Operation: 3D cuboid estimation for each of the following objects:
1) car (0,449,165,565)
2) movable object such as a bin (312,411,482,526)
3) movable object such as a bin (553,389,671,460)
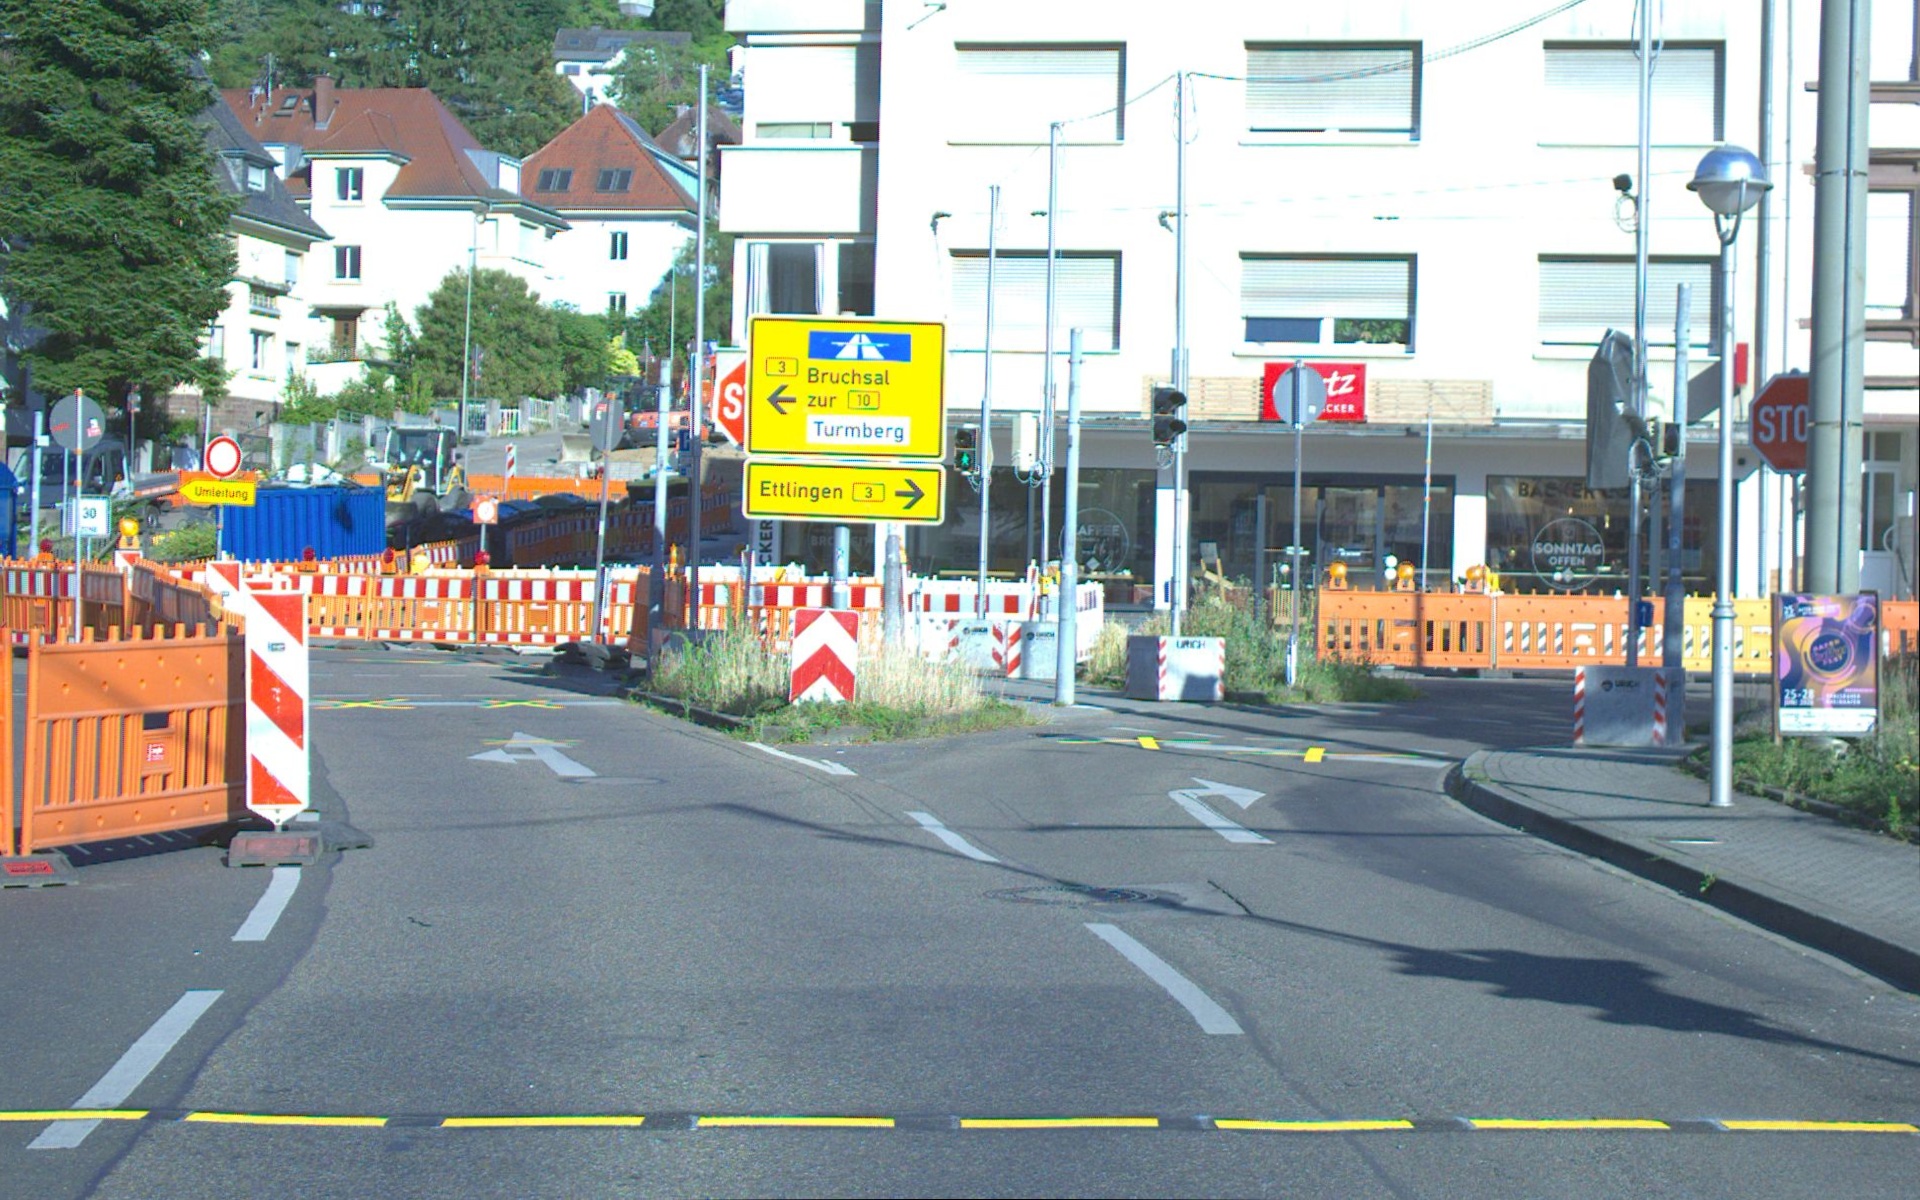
[{"bbox_3d":[-18.057,-1.751,66.159,2.585,2.113,6.145,1,1,18],"label":"car"},{"bbox_3d":[-12.886,-2.984,78.955,1.950,2.486,4.547,1,1,18],"label":"movable object such as a bin"},{"bbox_3d":[-11.587,-5.832,114.849,2.566,2.114,5.782,1,1,8],"label":"movable object such as a bin"}]
